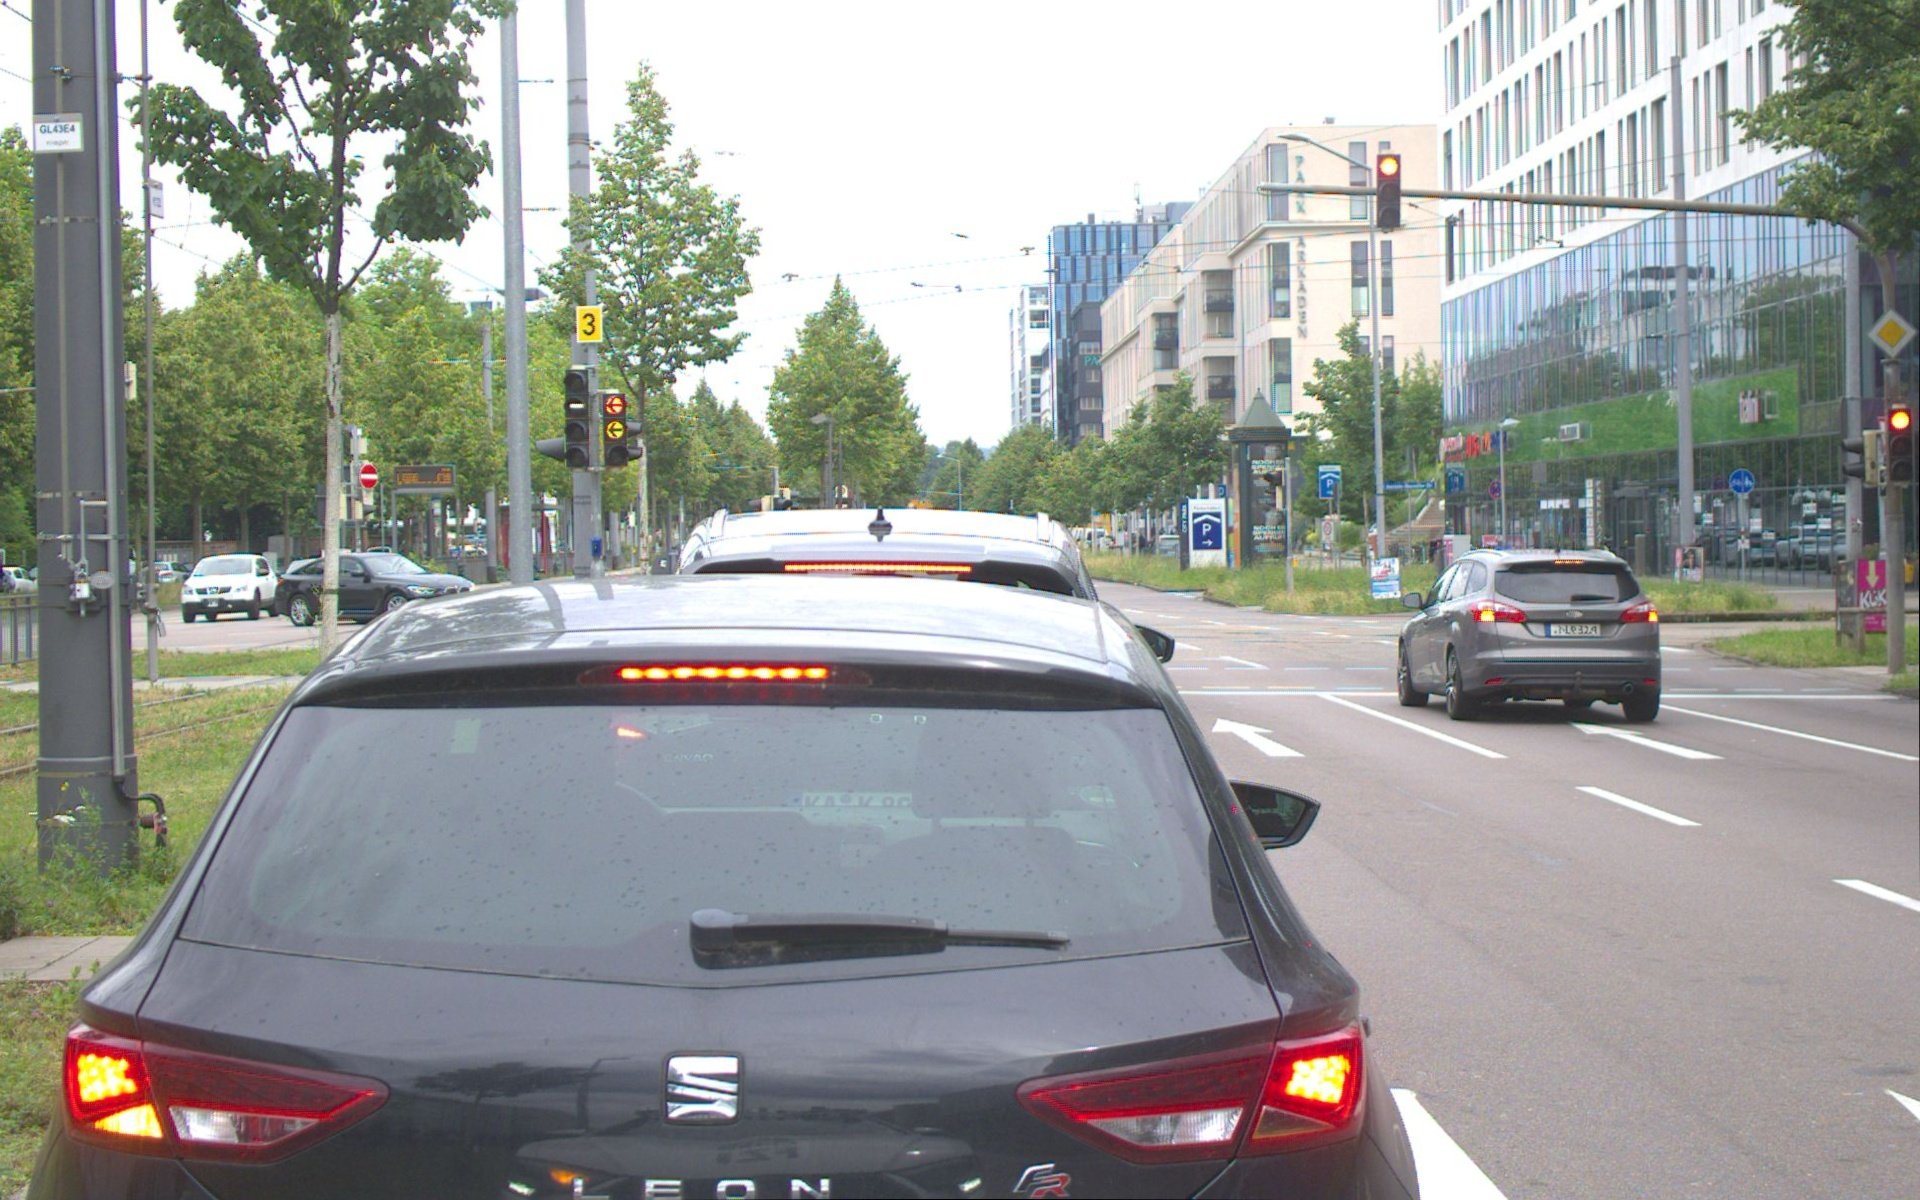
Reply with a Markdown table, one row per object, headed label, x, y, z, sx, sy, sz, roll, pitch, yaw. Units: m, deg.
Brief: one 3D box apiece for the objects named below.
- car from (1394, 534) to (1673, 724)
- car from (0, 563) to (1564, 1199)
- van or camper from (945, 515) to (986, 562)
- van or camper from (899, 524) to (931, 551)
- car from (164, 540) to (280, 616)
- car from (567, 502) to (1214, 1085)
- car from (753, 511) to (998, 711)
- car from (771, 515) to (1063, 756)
| label | x | y | z | sx | sy | sz | roll | pitch | yaw |
| --- | --- | --- | --- | --- | --- | --- | --- | --- | --- |
| car | 5.044 | 0.203 | 30.741 | 1.748 | 1.494 | 4.269 | 0 | 2 | 0 |
| car | -0.316 | 0.679 | 5.476 | 1.743 | 1.412 | 4.000 | 1 | 1 | -1 |
| van or camper | 0.283 | -3.292 | 182.710 | 2.109 | 2.348 | 4.924 | 0 | 3 | 0 |
| van or camper | -2.935 | -4.107 | 225.178 | 1.993 | 1.609 | 4.789 | 0 | 2 | 0 |
| car | -17.828 | -0.556 | 83.239 | 1.993 | 1.744 | 4.201 | -1 | 1 | -2 |
| car | -0.218 | 0.503 | 11.701 | 1.802 | 1.619 | 4.000 | -1 | 1 | -1 |
| car | -0.696 | 0.042 | 31.144 | 1.993 | 1.676 | 4.000 | 1 | 1 | 2 |
| car | -0.245 | 0.200 | 26.084 | 1.994 | 1.676 | 4.000 | 1 | 1 | 2 |
